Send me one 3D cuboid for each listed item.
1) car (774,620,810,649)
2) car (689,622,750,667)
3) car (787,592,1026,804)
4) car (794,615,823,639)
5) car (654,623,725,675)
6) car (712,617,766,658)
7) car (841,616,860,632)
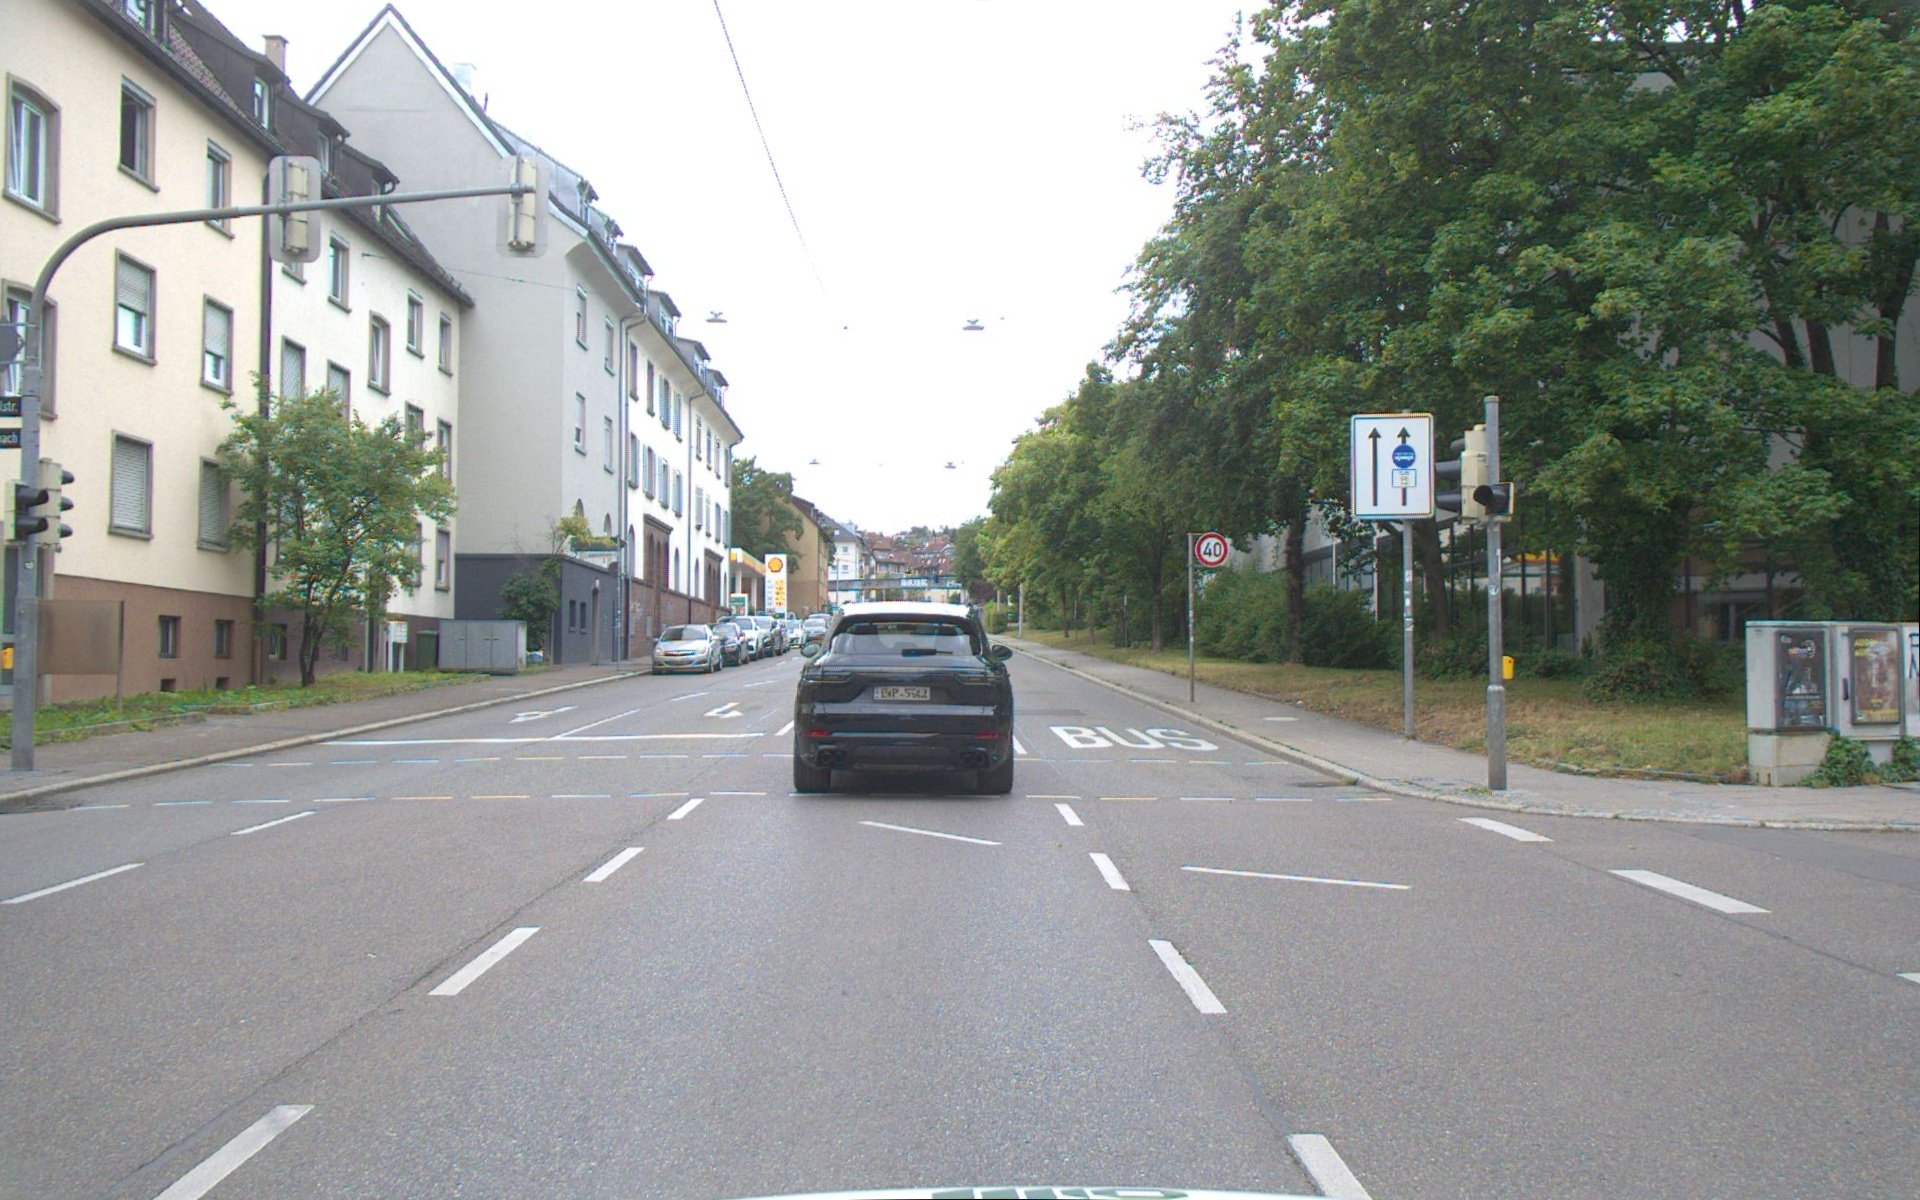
[{"bbox_3d":[-8.807,1.798,87.003,1.636,1.386,3.998,0,0,-3],"label":"car"},{"bbox_3d":[-8.063,1.484,55.769,1.636,1.386,3.998,0,0,-3],"label":"car"},{"bbox_3d":[-0.474,0.807,15.766,1.953,1.726,3.999,1,0,-1],"label":"car"},{"bbox_3d":[-9.545,1.700,104.421,1.636,1.386,3.998,0,0,-3],"label":"car"},{"bbox_3d":[-7.862,1.397,48.312,1.637,1.386,3.997,0,0,-4],"label":"car"},{"bbox_3d":[-8.223,1.375,61.801,1.636,1.386,3.998,0,0,-3],"label":"car"},{"bbox_3d":[-10.112,2.201,152.759,1.636,1.386,3.998,0,0,-3],"label":"car"}]
